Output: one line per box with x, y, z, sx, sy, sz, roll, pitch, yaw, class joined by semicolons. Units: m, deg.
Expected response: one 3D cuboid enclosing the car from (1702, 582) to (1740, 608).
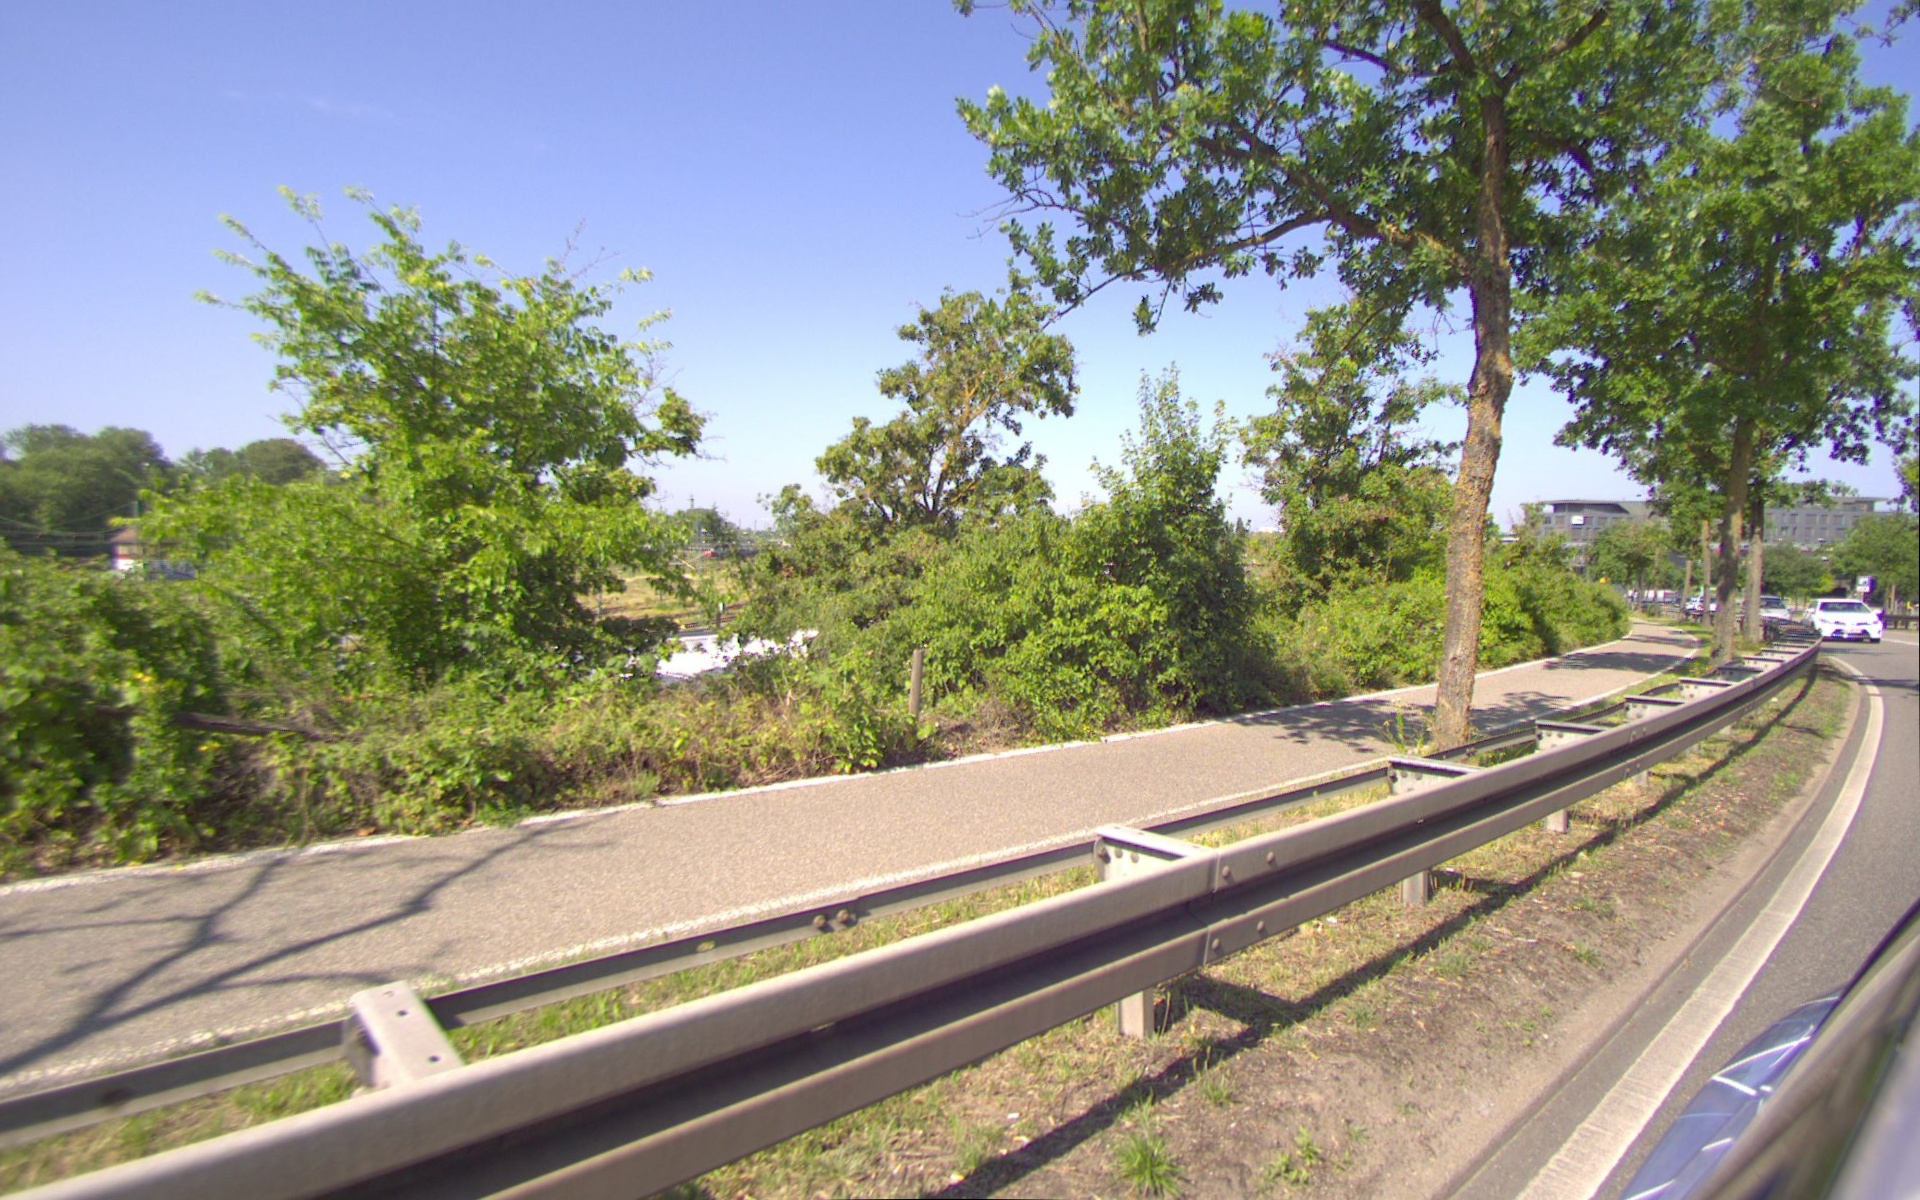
53.015;-0.381;70.570;1.987;1.790;3.950;0;1;35;car

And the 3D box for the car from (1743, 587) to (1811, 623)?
38.531;0.213;47.847;1.985;1.605;3.955;1;1;32;car

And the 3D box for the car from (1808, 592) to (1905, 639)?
30.748;0.488;34.845;1.833;1.507;4.104;1;1;32;car
